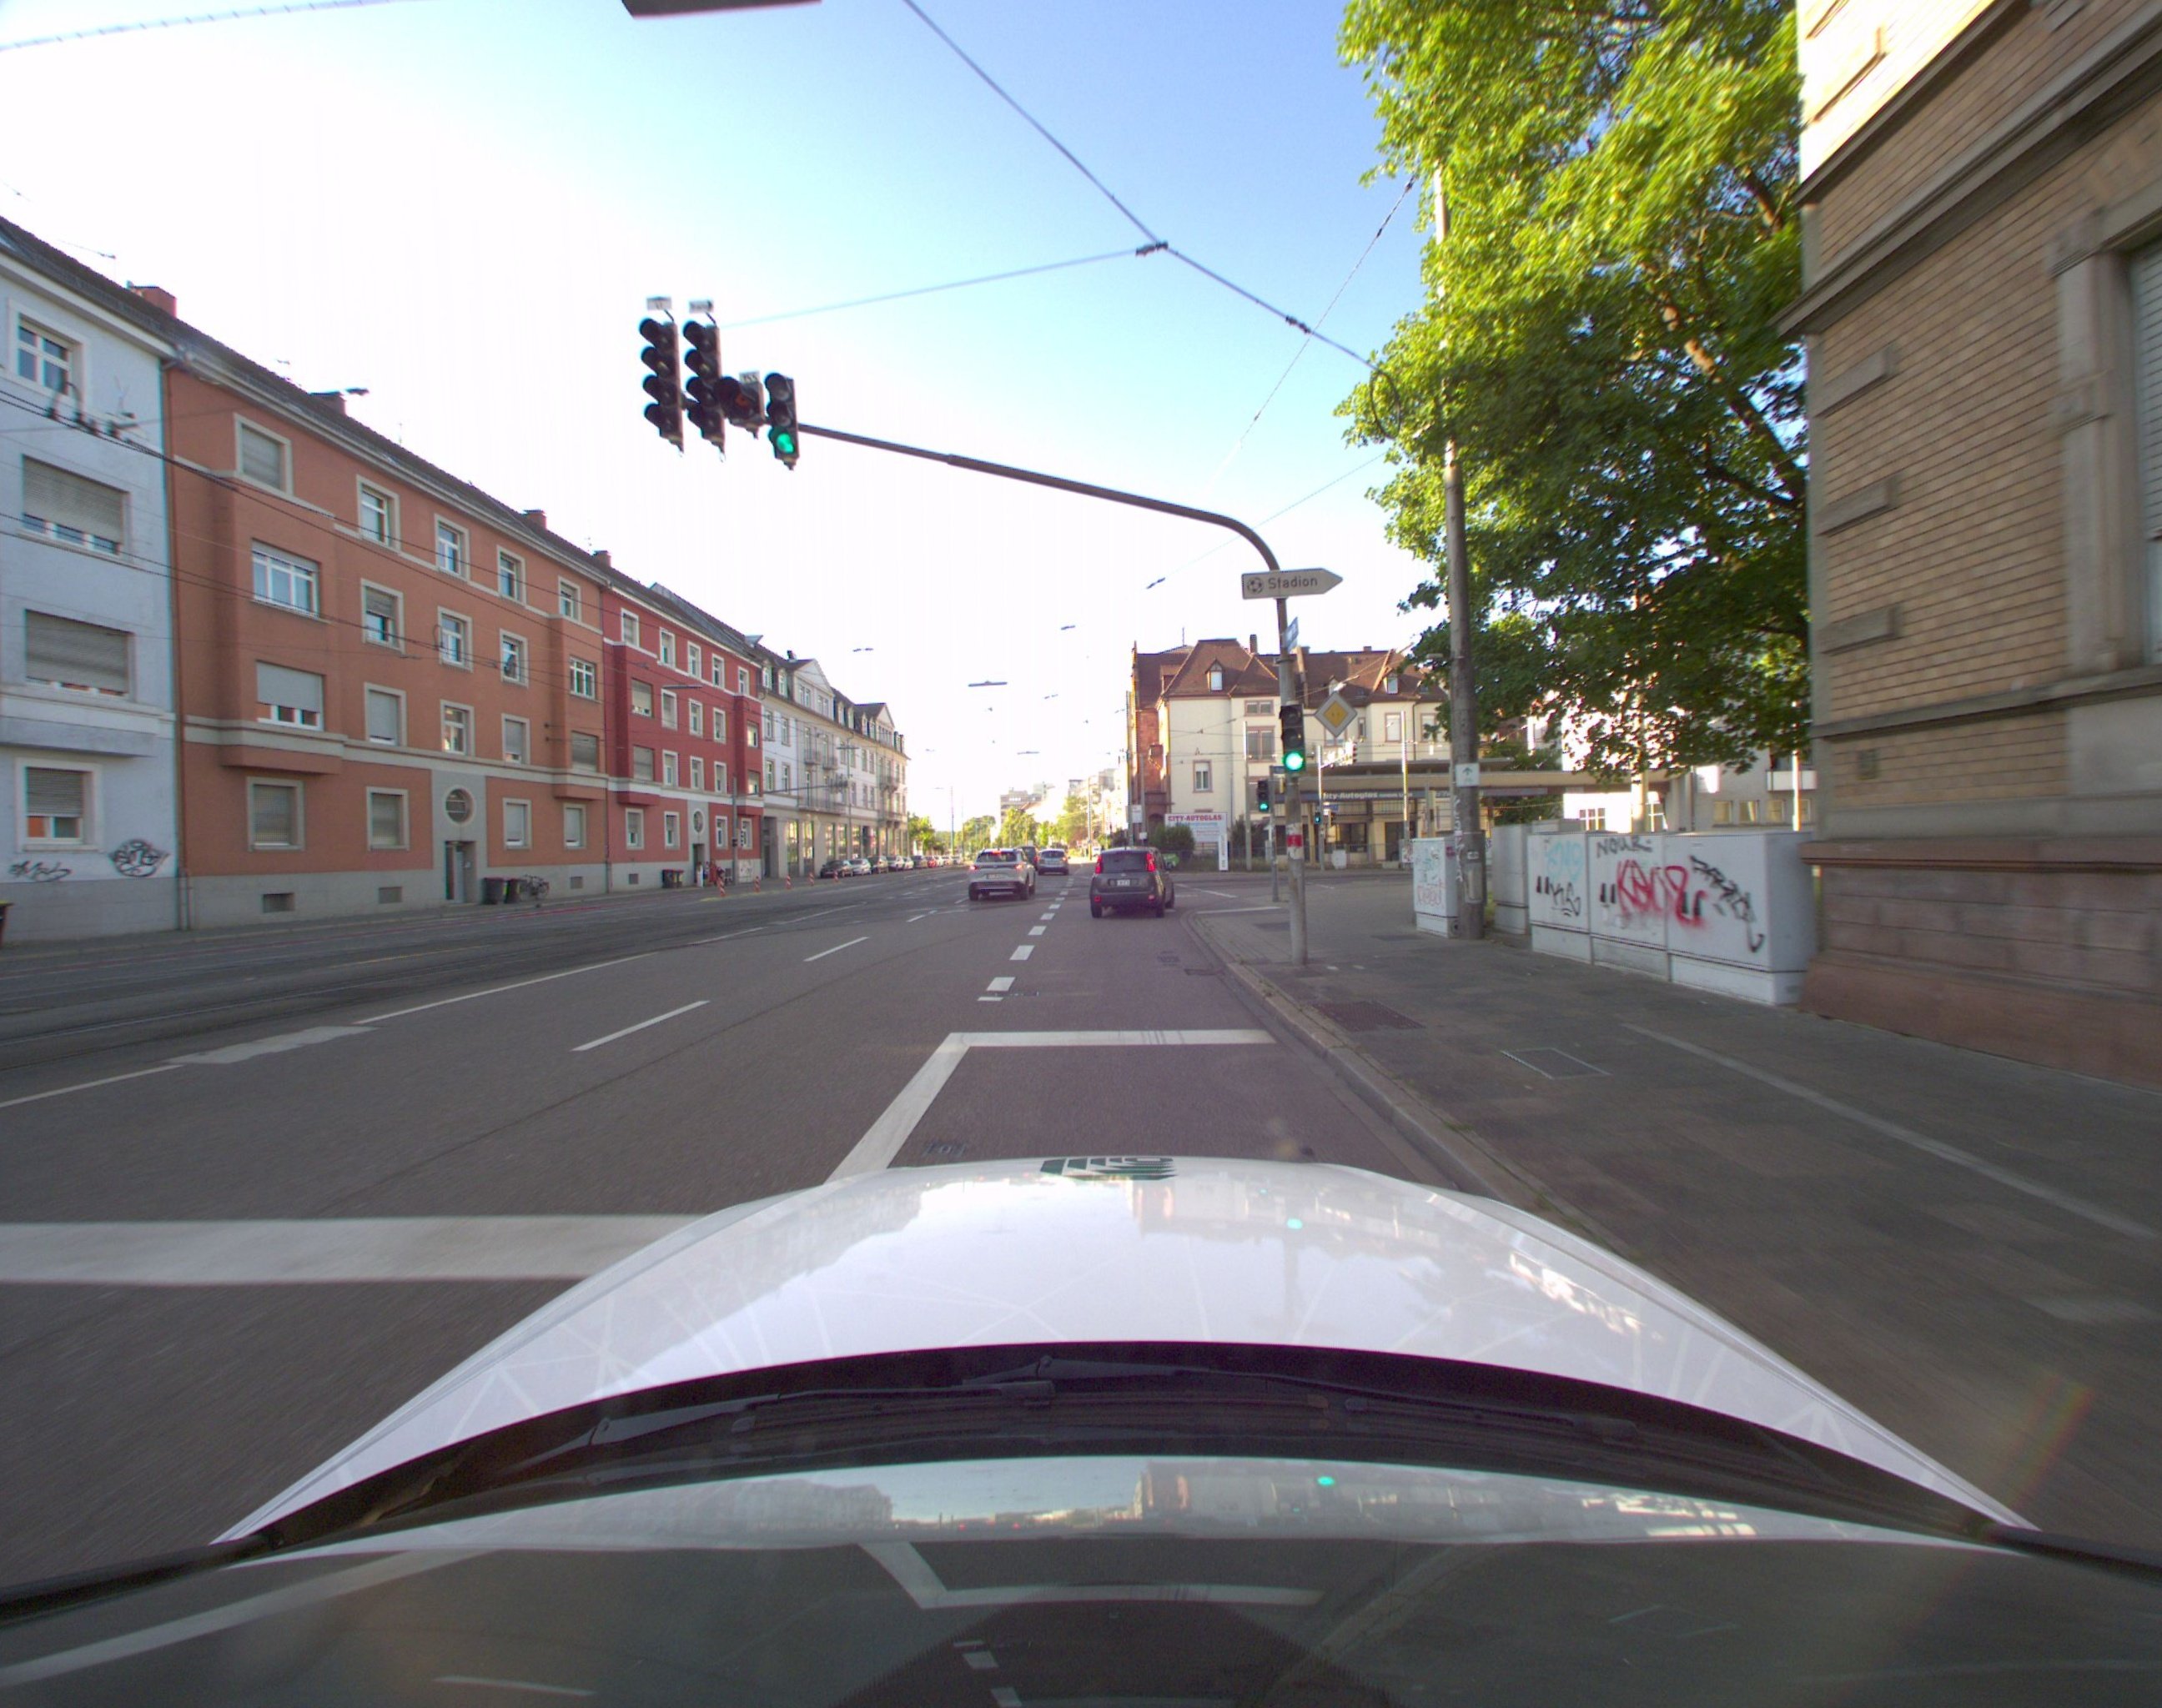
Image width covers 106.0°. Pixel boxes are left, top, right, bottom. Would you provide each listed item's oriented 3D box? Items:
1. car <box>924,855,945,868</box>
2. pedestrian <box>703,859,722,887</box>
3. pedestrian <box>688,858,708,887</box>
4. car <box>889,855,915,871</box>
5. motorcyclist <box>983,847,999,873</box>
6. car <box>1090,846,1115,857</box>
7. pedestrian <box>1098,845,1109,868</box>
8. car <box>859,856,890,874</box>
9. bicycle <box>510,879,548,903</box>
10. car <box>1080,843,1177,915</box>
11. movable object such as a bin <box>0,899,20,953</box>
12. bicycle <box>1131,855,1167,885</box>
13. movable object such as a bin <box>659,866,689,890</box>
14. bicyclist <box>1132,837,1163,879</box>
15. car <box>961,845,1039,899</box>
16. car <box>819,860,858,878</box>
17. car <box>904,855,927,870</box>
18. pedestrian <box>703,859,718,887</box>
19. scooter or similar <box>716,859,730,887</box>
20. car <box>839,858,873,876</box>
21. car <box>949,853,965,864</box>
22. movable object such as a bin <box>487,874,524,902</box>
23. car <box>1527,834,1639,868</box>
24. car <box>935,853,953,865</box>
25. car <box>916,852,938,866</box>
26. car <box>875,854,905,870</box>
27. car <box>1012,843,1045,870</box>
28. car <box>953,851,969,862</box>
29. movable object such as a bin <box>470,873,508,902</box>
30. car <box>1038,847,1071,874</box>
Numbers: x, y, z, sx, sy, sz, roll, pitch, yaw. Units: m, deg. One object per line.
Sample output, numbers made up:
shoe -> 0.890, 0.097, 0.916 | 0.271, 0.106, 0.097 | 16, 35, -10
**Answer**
car -> -18.397, 0.885, 102.373 | 1.713, 1.552, 4.001 | -2, 0, 1
pedestrian -> -21.561, 1.103, 47.695 | 0.835, 1.633, 0.786 | -1, 0, -37
pedestrian -> -22.045, 1.049, 46.898 | 0.786, 1.633, 0.658 | -1, 0, 19
car -> -19.013, 0.931, 86.595 | 1.713, 1.552, 4.001 | -2, 0, 1
motorcyclist -> -4.984, 0.336, 45.274 | 0.775, 1.423, 0.891 | -1, 0, 0
car -> 3.911, -0.427, 149.912 | 4.256, 2.013, 1.994 | -1, 0, -9
pedestrian -> 1.810, 0.226, 65.206 | 0.872, 1.824, 1.185 | -1, 0, 2
car -> -18.917, 1.017, 74.679 | 1.713, 1.552, 3.857 | -2, 0, 1
bicycle -> -22.745, 1.520, 33.596 | 0.333, 0.890, 1.607 | -1, 0, 6
car -> 1.210, 0.510, 19.012 | 1.720, 1.500, 4.012 | -1, 0, 11
movable object such as a bin -> -22.924, 1.524, 17.021 | 0.700, 1.106, 0.582 | -1, 0, 1
bicycle -> 2.520, 0.585, 30.474 | 0.772, 1.086, 1.862 | -1, 0, -14
movable object such as a bin -> -22.269, 1.282, 44.562 | 0.866, 1.249, 1.236 | -2, 0, 7
bicyclist -> 2.482, 0.137, 30.527 | 0.835, 1.525, 0.988 | -1, 0, -15
car -> -2.466, 0.505, 25.729 | 1.940, 1.528, 4.091 | -1, 0, 1
car -> -19.053, 1.163, 64.110 | 1.713, 1.232, 4.001 | -2, 0, 1
car -> -18.604, 0.906, 91.669 | 1.713, 1.552, 4.001 | -2, 0, 1
pedestrian -> -22.063, 1.123, 48.502 | 0.657, 1.633, 0.787 | -1, 0, -31
scooter or similar -> -21.518, 1.143, 48.922 | 0.657, 1.633, 0.787 | -1, 0, -31
car -> -19.220, 1.084, 69.729 | 1.713, 1.452, 4.001 | -2, 0, 1
car -> -18.499, 0.710, 121.503 | 1.713, 1.552, 4.001 | -2, 0, 1
movable object such as a bin -> -22.440, 1.315, 31.749 | 0.841, 1.040, 0.810 | -1, 0, -3
car -> 23.755, -0.138, 38.627 | 4.160, 1.458, 1.797 | -2, -1, 2
car -> -18.608, 0.681, 110.643 | 1.713, 1.552, 4.001 | -1, 0, 1
car -> -18.425, 0.608, 97.628 | 1.713, 1.552, 4.001 | -2, 0, 1
car -> -19.051, 0.778, 81.455 | 1.829, 1.552, 4.275 | -2, 0, 1
car -> -4.117, 0.160, 64.965 | 2.164, 2.009, 4.809 | -2, 0, 1
car -> -18.786, 0.416, 127.520 | 1.713, 1.552, 4.001 | -2, 0, 1
movable object such as a bin -> -22.441, 1.260, 30.894 | 0.841, 1.040, 0.810 | -1, 0, -3
car -> -1.634, 0.413, 51.251 | 1.808, 1.582, 4.000 | -1, 0, 1
